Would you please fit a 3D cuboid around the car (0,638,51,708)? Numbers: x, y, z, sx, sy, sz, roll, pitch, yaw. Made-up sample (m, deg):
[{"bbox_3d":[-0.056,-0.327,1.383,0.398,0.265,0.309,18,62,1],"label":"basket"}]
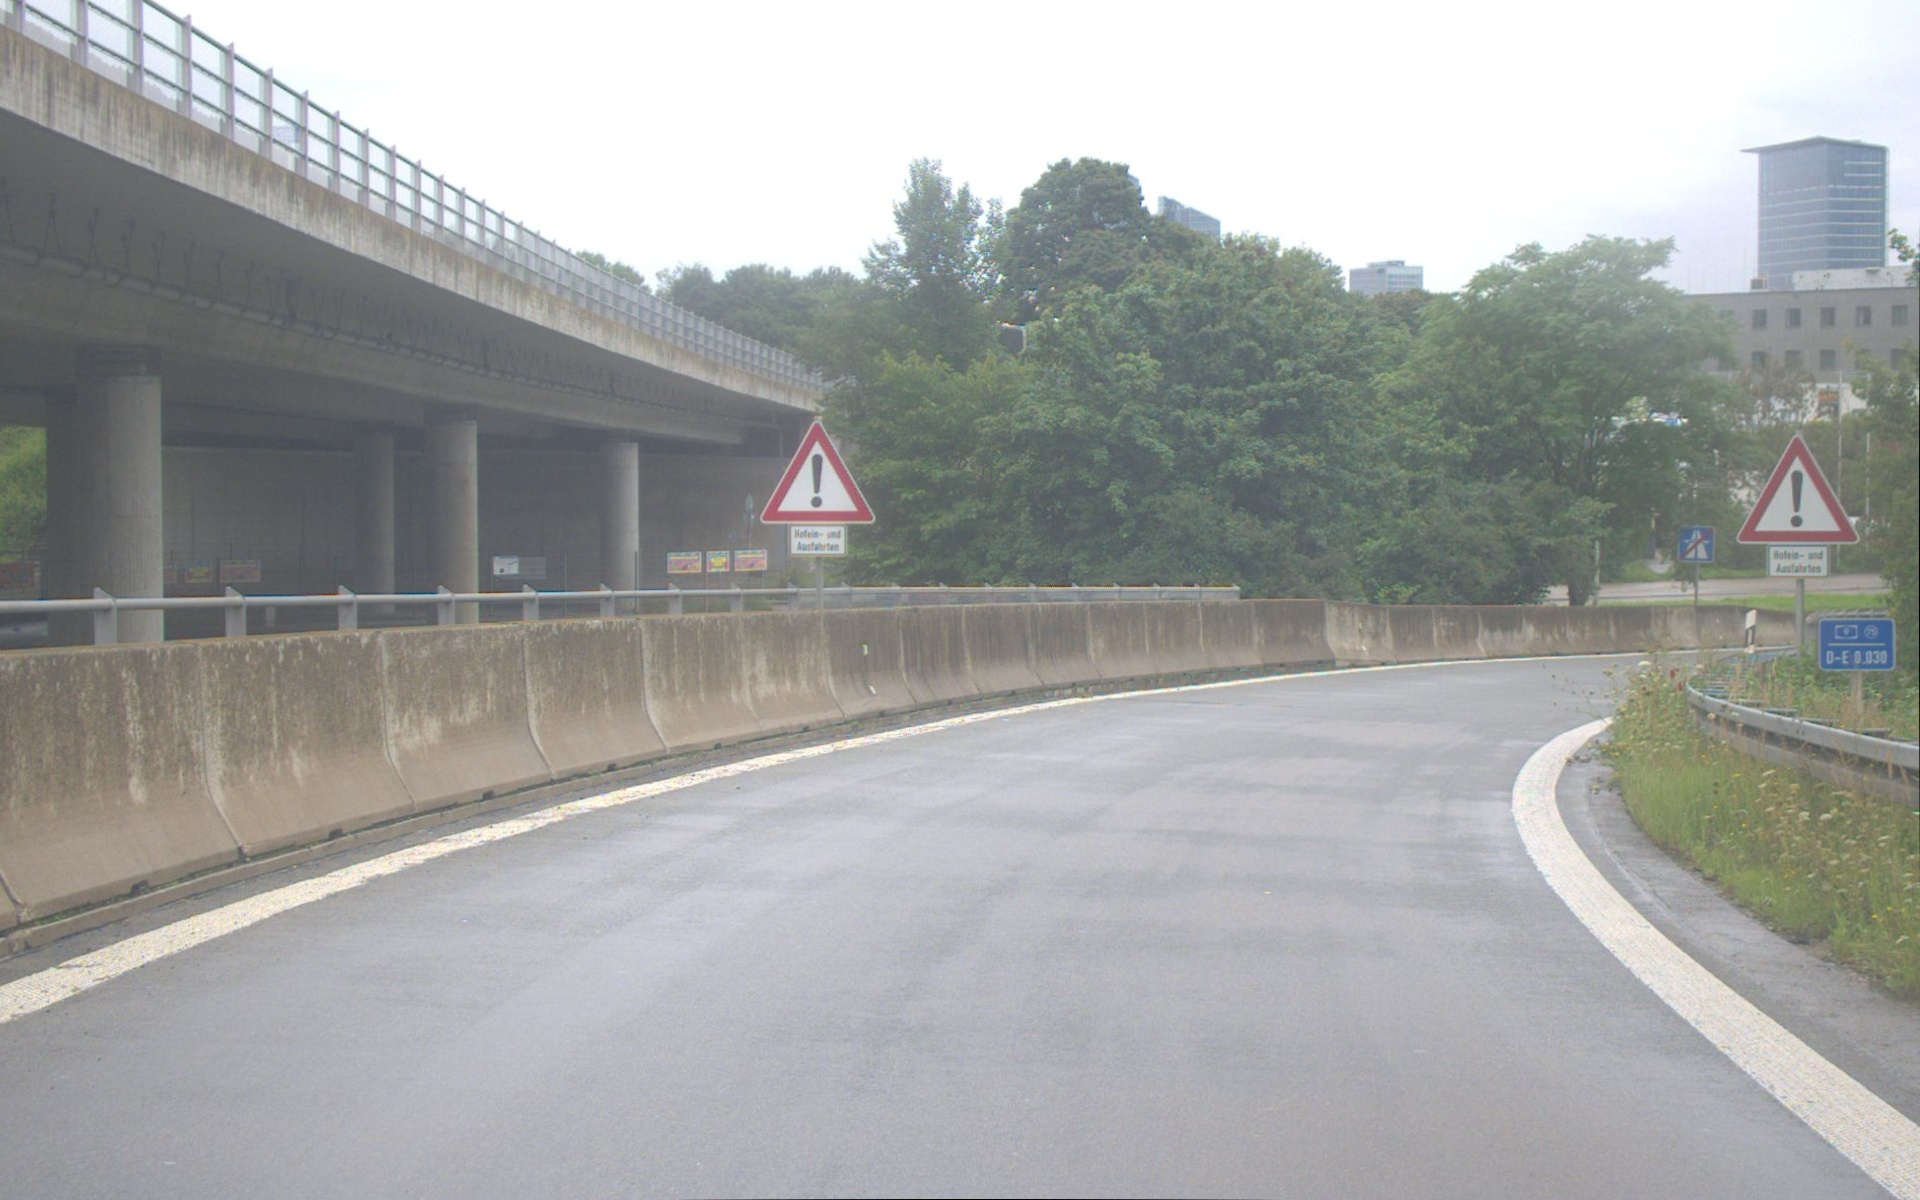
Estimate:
[{"bbox_3d":[-23.462,1.701,78.964,4.578,1.578,1.974,-1,0,-40],"label":"car"}]
